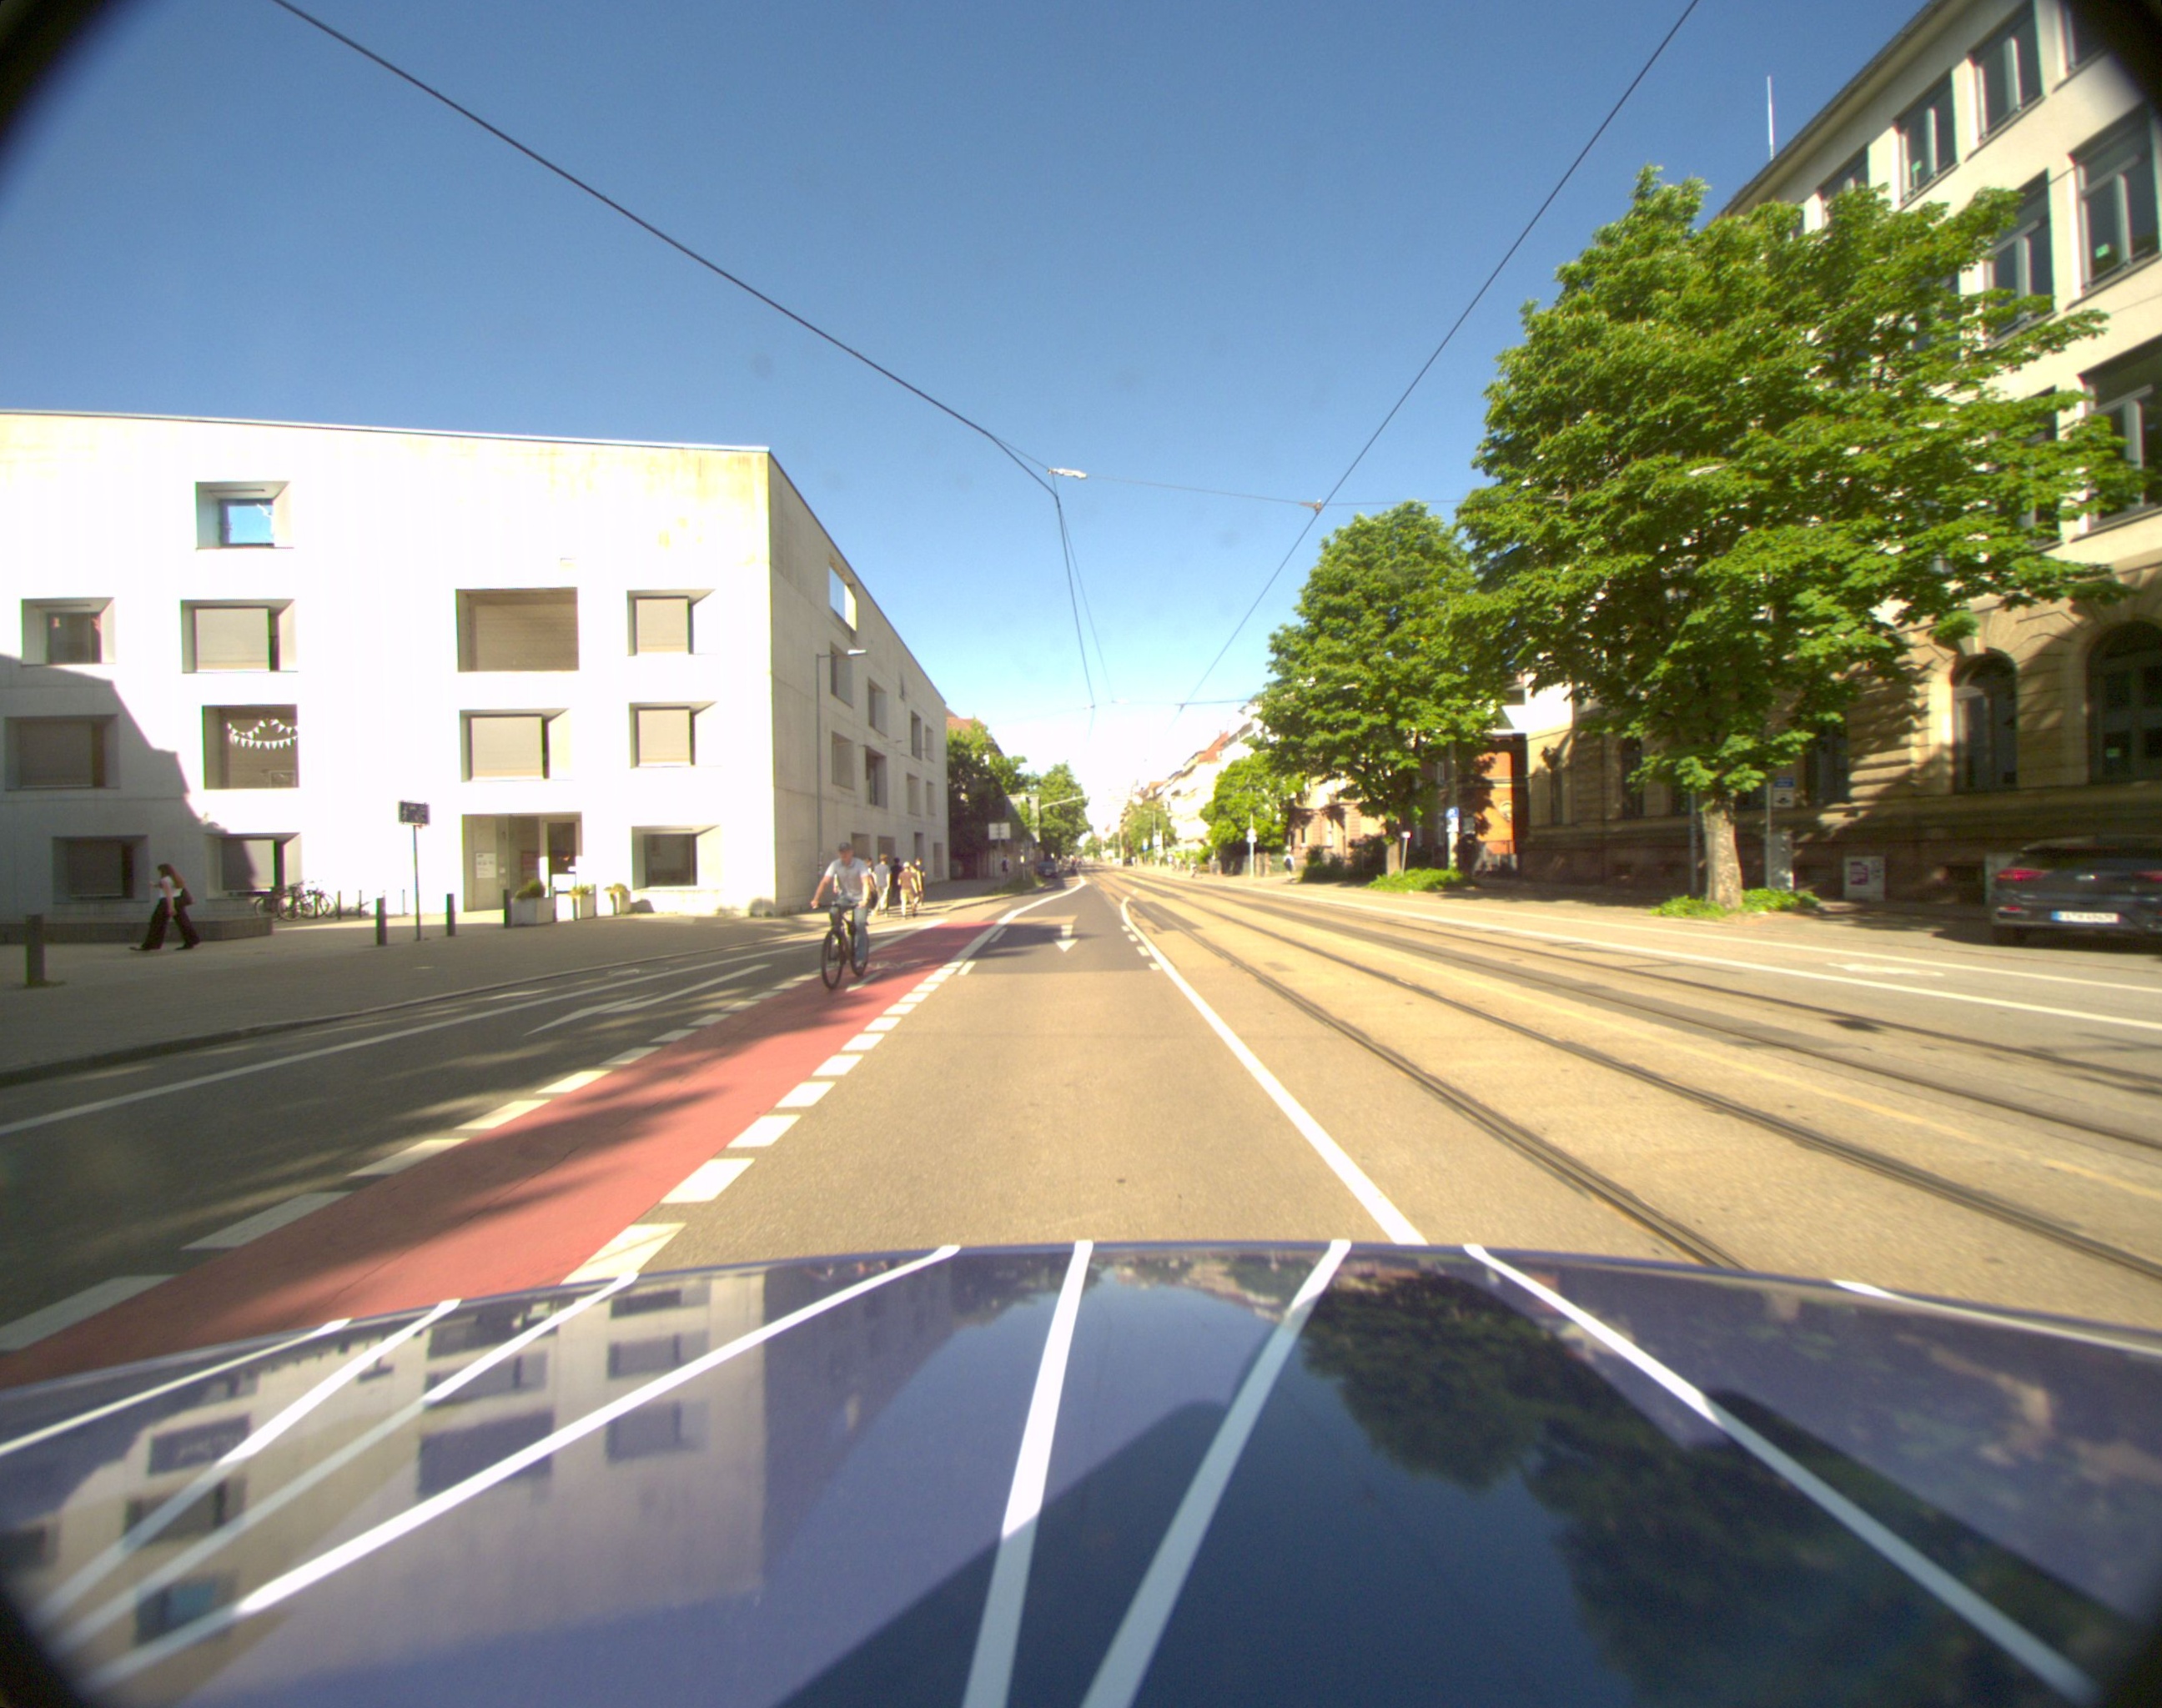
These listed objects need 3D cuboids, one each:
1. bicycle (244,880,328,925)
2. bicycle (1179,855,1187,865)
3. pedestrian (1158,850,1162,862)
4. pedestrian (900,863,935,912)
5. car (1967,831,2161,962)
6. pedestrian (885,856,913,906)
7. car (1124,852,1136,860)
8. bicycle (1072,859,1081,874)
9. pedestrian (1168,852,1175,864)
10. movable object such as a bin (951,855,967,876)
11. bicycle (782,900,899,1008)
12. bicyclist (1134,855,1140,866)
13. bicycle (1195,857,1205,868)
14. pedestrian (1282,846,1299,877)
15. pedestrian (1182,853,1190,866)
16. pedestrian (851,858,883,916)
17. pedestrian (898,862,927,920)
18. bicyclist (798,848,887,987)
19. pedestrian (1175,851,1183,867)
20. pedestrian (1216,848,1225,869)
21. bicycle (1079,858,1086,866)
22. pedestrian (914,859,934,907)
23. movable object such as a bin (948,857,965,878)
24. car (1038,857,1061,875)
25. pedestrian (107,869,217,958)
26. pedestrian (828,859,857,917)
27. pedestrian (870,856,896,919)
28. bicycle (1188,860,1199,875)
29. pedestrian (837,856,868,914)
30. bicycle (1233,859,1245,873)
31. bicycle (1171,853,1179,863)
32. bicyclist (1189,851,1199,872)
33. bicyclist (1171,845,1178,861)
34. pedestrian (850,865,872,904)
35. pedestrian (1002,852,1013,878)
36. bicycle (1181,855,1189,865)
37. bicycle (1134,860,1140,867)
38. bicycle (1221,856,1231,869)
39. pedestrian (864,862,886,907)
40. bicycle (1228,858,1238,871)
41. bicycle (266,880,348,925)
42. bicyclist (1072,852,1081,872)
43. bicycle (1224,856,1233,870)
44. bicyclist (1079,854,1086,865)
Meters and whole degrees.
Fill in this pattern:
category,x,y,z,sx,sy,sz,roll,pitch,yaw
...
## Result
category,x,y,z,sx,sy,sz,roll,pitch,yaw
bicycle,-21.480,1.292,20.562,0.498,1.089,1.592,-1,1,3
bicycle,12.101,0.686,90.508,0.663,1.083,1.840,-4,1,0
pedestrian,12.035,0.287,115.638,0.558,1.771,0.538,-1,1,-4
pedestrian,-5.604,1.140,26.082,0.830,1.595,0.894,3,1,10
car,14.750,0.493,10.854,4.005,1.541,1.873,-2,1,-28
pedestrian,-6.637,0.964,27.708,0.649,1.753,0.956,3,1,2
car,9.245,0.394,142.944,1.869,1.567,4.588,1,0,-1
bicycle,-0.375,1.115,68.489,0.763,1.235,2.096,-2,0,-1
pedestrian,13.417,0.561,112.335,0.692,1.758,0.868,-1,1,41
movable object such as a bin,-8.900,0.821,55.610,0.936,1.455,1.331,-1,0,-1
bicycle,-3.031,1.216,9.823,0.740,1.088,2.111,-3,0,1
bicyclist,8.135,0.959,110.106,0.747,1.590,1.118,2,1,1
bicycle,12.065,0.830,77.078,0.640,1.053,1.743,-4,0,1
pedestrian,12.168,0.429,44.136,0.731,1.786,0.780,-4,1,6
pedestrian,11.763,0.612,85.040,0.756,1.469,0.956,-3,0,0
pedestrian,-6.657,1.017,23.649,0.528,1.764,0.737,4,1,19
pedestrian,-5.215,1.131,23.544,0.607,1.736,0.718,2,1,7
bicyclist,-3.055,0.784,9.821,0.740,1.676,0.972,-3,1,1
pedestrian,10.993,0.528,85.037,0.756,1.704,0.808,-3,0,0
pedestrian,12.128,0.374,66.033,0.576,1.821,0.690,-1,1,19
bicycle,0.169,1.095,101.563,0.776,1.080,2.058,-2,0,-3
pedestrian,-5.749,1.049,27.849,0.496,1.718,0.816,3,1,0
movable object such as a bin,-8.810,0.937,53.690,0.935,1.455,1.355,-1,0,1
car,-2.726,0.973,65.460,1.827,1.450,4.816,0,0,-4
pedestrian,-17.859,1.126,14.797,0.993,1.631,0.859,-1,2,-5
pedestrian,-7.406,1.044,23.607,0.611,1.764,0.653,3,1,1
pedestrian,-6.055,1.008,23.277,0.519,1.891,0.612,2,1,7
bicycle,9.026,1.059,60.939,0.688,1.118,1.932,1,0,4
pedestrian,-7.356,0.988,24.450,0.658,1.792,0.732,2,1,7
bicycle,12.460,0.915,60.038,0.591,1.039,1.905,-3,0,3
bicycle,10.862,0.469,87.868,0.705,1.049,1.837,-1,2,13
bicyclist,9.034,0.610,60.952,0.688,1.635,1.238,1,1,4
bicyclist,10.854,-0.078,87.855,0.705,1.843,0.986,-1,2,13
pedestrian,-8.045,1.113,27.758,0.519,1.396,0.764,-1,1,2
pedestrian,-5.101,0.763,52.936,0.685,1.839,0.955,0,1,-2
bicycle,12.129,0.711,88.448,0.663,1.083,1.840,-4,1,0
bicycle,8.121,1.377,110.131,0.747,1.075,1.899,2,0,1
bicycle,12.597,0.749,66.078,0.637,1.039,2.024,-1,0,16
pedestrian,-7.450,1.097,27.528,0.519,1.591,0.764,-1,1,2
bicycle,12.472,0.852,62.353,0.591,1.039,1.906,-2,0,8
bicycle,-20.981,1.296,20.631,0.498,1.089,1.587,-1,1,3
bicyclist,-0.394,0.715,68.494,0.763,1.728,1.046,-2,0,-1
bicycle,12.539,0.748,64.654,0.647,1.137,1.906,-3,0,8
bicyclist,0.162,0.700,101.565,0.776,1.505,1.229,-2,0,-3
